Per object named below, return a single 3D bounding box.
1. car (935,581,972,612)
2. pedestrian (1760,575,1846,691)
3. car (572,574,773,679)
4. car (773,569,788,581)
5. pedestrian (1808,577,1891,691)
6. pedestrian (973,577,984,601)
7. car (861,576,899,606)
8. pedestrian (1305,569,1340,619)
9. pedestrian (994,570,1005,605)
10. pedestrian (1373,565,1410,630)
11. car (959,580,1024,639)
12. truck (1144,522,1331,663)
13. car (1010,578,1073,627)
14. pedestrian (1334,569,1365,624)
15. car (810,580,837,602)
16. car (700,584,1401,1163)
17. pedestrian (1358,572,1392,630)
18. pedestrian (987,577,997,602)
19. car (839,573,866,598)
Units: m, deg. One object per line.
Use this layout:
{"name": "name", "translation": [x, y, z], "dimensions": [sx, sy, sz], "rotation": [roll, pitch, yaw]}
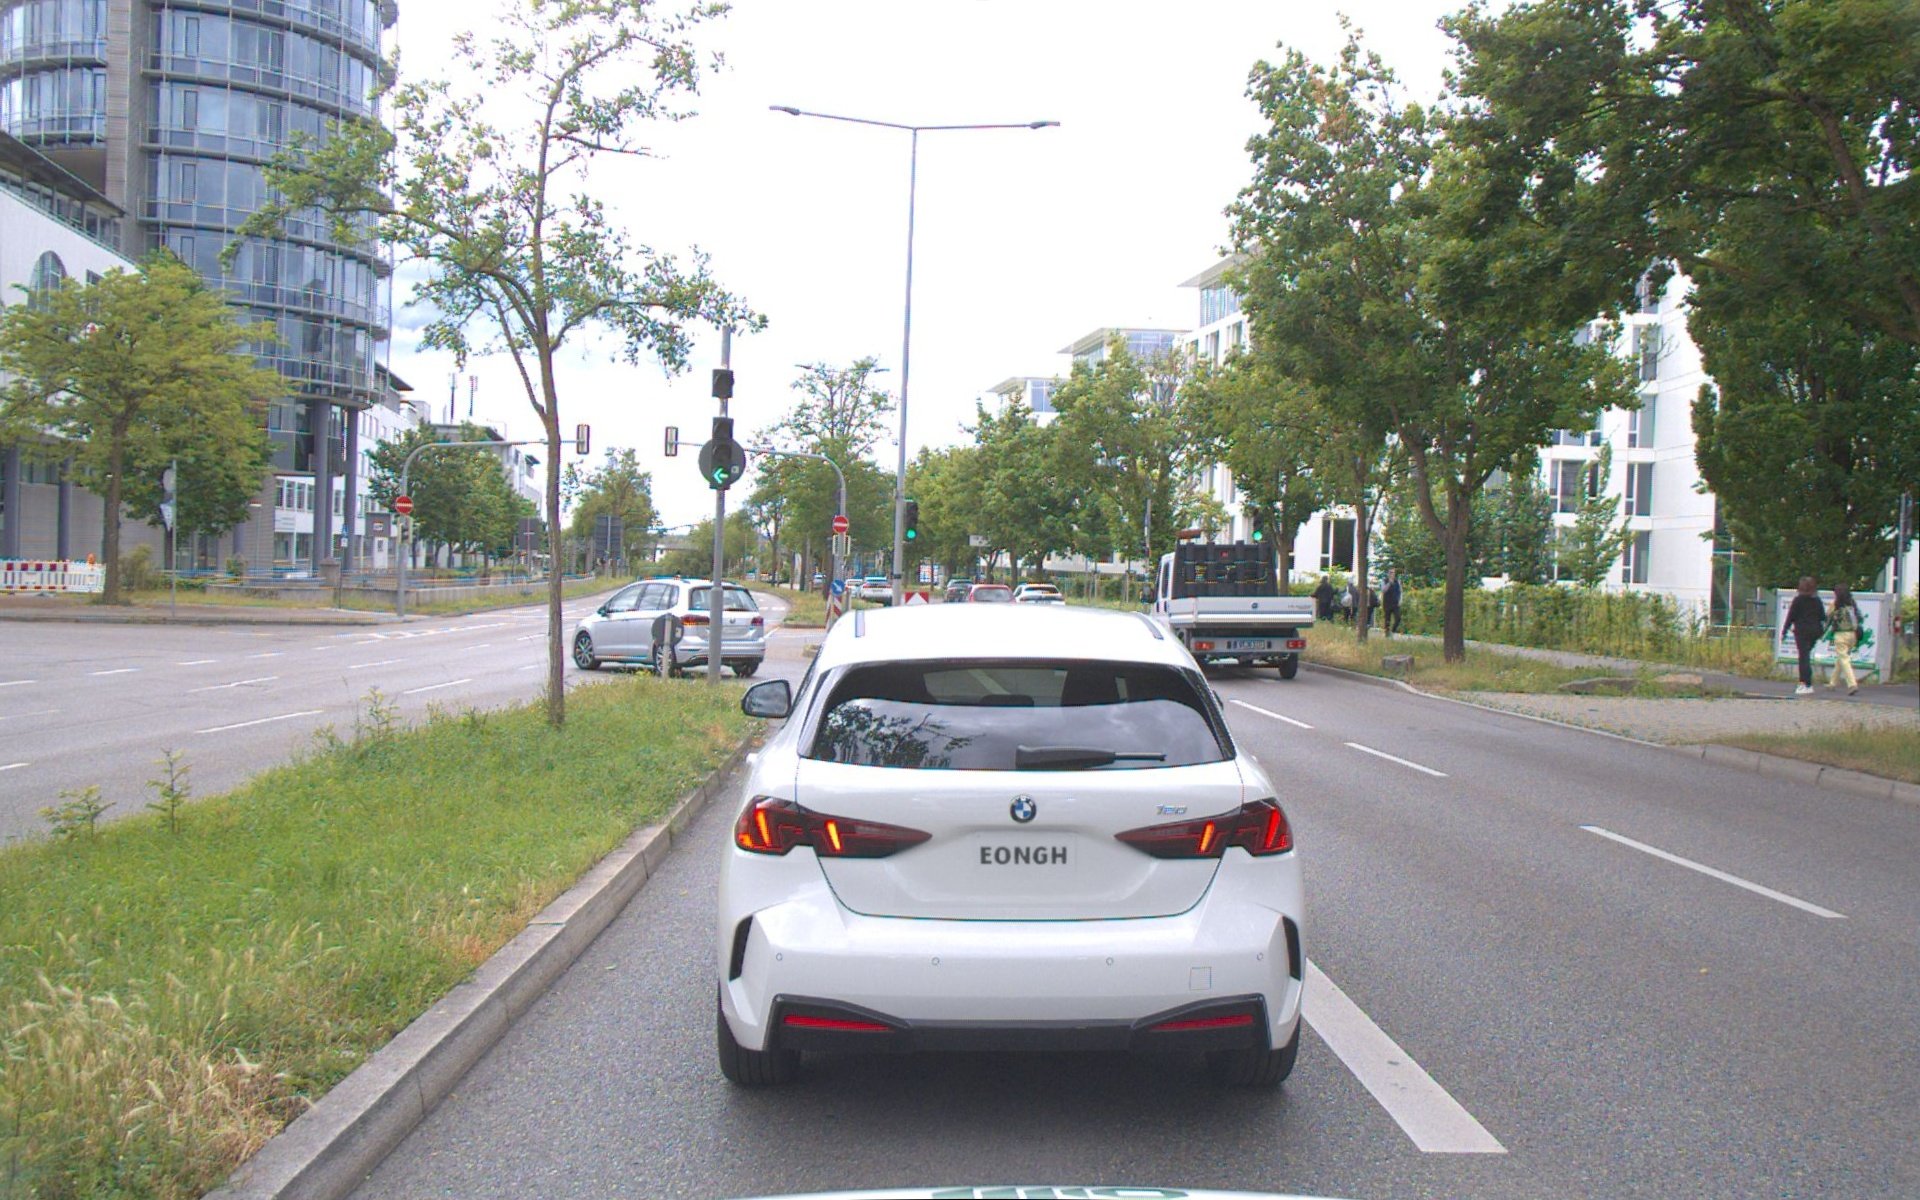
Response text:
{"name": "car", "translation": [-0.378, -0.172, 92.372], "dimensions": [1.626, 1.539, 3.993], "rotation": [1, -2, -7]}
{"name": "pedestrian", "translation": [12.689, 0.479, 24.930], "dimensions": [0.779, 1.689, 1.060], "rotation": [1, 0, 5]}
{"name": "car", "translation": [-4.918, 0.406, 27.943], "dimensions": [1.540, 1.596, 3.941], "rotation": [1, 0, -40]}
{"name": "car", "translation": [-26.631, -3.693, 245.406], "dimensions": [1.957, 1.699, 3.991], "rotation": [0, 0, -10]}
{"name": "pedestrian", "translation": [13.493, 0.502, 25.108], "dimensions": [0.762, 1.689, 0.952], "rotation": [1, 0, 5]}
{"name": "pedestrian", "translation": [1.597, -0.972, 142.079], "dimensions": [0.749, 2.049, 0.751], "rotation": [1, 0, -16]}
{"name": "car", "translation": [-4.498, -0.482, 92.162], "dimensions": [1.819, 1.624, 4.307], "rotation": [0, 0, -7]}
{"name": "pedestrian", "translation": [10.967, -0.184, 50.031], "dimensions": [0.773, 1.473, 1.111], "rotation": [1, 0, -2]}
{"name": "pedestrian", "translation": [3.102, -0.978, 129.387], "dimensions": [0.814, 2.673, 0.646], "rotation": [1, 0, -1]}
{"name": "pedestrian", "translation": [10.880, -0.067, 41.732], "dimensions": [0.726, 1.601, 0.674], "rotation": [1, 0, -2]}
{"name": "car", "translation": [0.853, 0.248, 47.010], "dimensions": [1.681, 1.585, 3.857], "rotation": [0, 0, -1]}
{"name": "truck", "translation": [4.803, -0.141, 29.598], "dimensions": [2.167, 2.242, 5.842], "rotation": [1, 0, -2]}
{"name": "car", "translation": [2.720, 0.079, 56.138], "dimensions": [1.682, 1.583, 4.087], "rotation": [1, 0, -4]}
{"name": "pedestrian", "translation": [11.722, -0.108, 49.740], "dimensions": [0.685, 1.623, 0.883], "rotation": [1, 0, -2]}
{"name": "car", "translation": [-10.833, -0.739, 131.147], "dimensions": [1.856, 1.623, 4.305], "rotation": [1, 0, -8]}
{"name": "car", "translation": [0.215, 0.701, 6.292], "dimensions": [1.785, 1.463, 3.999], "rotation": [1, 0, -1]}
{"name": "pedestrian", "translation": [12.485, 0.033, 49.774], "dimensions": [0.751, 1.715, 0.883], "rotation": [1, 0, -2]}
{"name": "pedestrian", "translation": [2.713, -0.884, 140.203], "dimensions": [0.831, 2.049, 0.605], "rotation": [1, 0, -1]}
{"name": "car", "translation": [-6.889, -0.925, 105.739], "dimensions": [1.574, 1.494, 3.671], "rotation": [1, 0, -6]}
